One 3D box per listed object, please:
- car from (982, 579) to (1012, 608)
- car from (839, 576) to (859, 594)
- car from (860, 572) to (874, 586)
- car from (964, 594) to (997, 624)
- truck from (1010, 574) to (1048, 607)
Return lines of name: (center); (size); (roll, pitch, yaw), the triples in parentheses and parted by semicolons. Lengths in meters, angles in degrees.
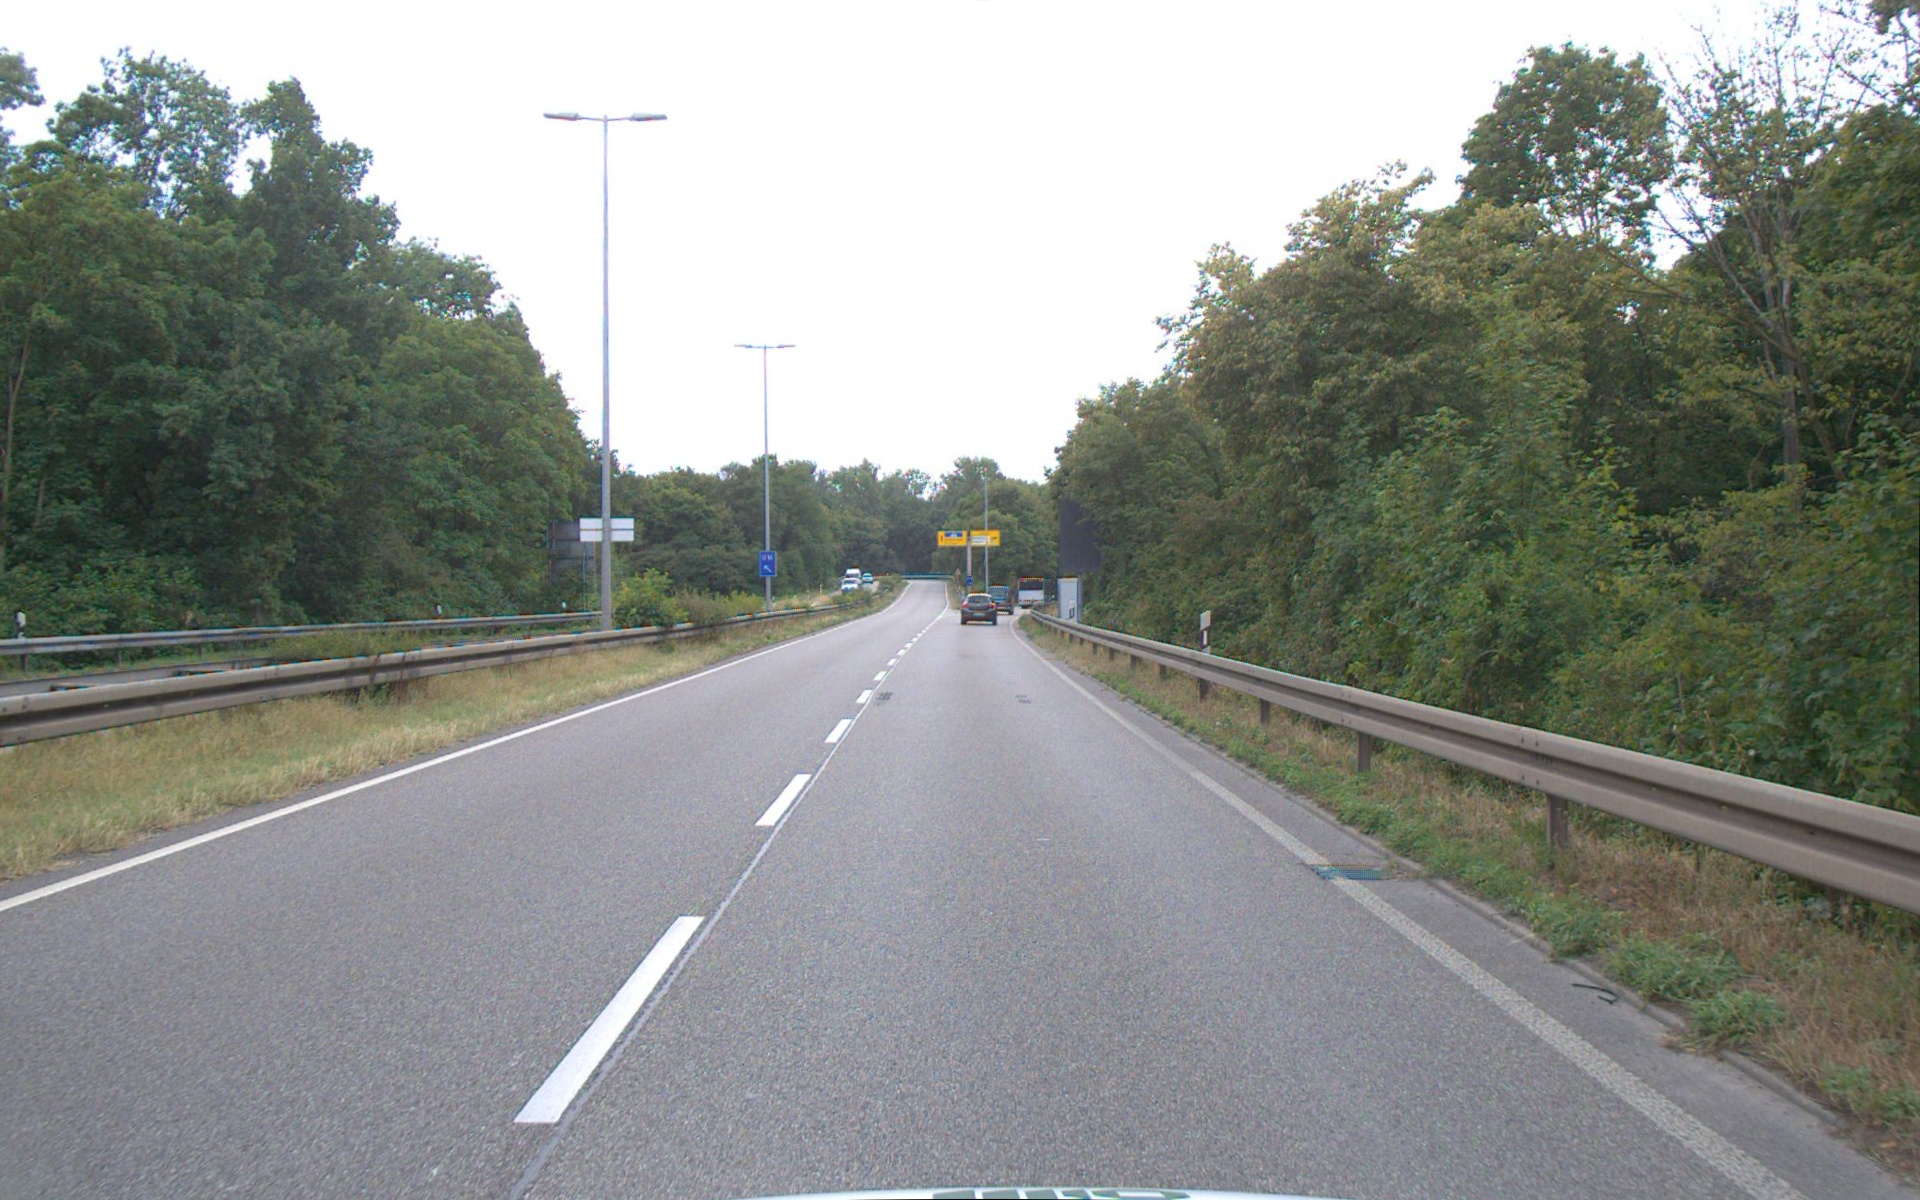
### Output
car: (2.628, -0.443, 118.231); (2.104, 2.049, 4.000); (0, -1, 1)
car: (-12.549, -1.706, 187.109); (1.952, 1.879, 4.001); (0, 2, 1)
car: (-14.278, -3.269, 254.126); (1.952, 2.049, 4.001); (0, 1, 1)
car: (1.001, 0.463, 81.062); (1.592, 1.402, 4.000); (0, -1, 1)
truck: (6.547, -0.897, 155.936); (2.917, 2.935, 7.996); (0, -1, 7)
